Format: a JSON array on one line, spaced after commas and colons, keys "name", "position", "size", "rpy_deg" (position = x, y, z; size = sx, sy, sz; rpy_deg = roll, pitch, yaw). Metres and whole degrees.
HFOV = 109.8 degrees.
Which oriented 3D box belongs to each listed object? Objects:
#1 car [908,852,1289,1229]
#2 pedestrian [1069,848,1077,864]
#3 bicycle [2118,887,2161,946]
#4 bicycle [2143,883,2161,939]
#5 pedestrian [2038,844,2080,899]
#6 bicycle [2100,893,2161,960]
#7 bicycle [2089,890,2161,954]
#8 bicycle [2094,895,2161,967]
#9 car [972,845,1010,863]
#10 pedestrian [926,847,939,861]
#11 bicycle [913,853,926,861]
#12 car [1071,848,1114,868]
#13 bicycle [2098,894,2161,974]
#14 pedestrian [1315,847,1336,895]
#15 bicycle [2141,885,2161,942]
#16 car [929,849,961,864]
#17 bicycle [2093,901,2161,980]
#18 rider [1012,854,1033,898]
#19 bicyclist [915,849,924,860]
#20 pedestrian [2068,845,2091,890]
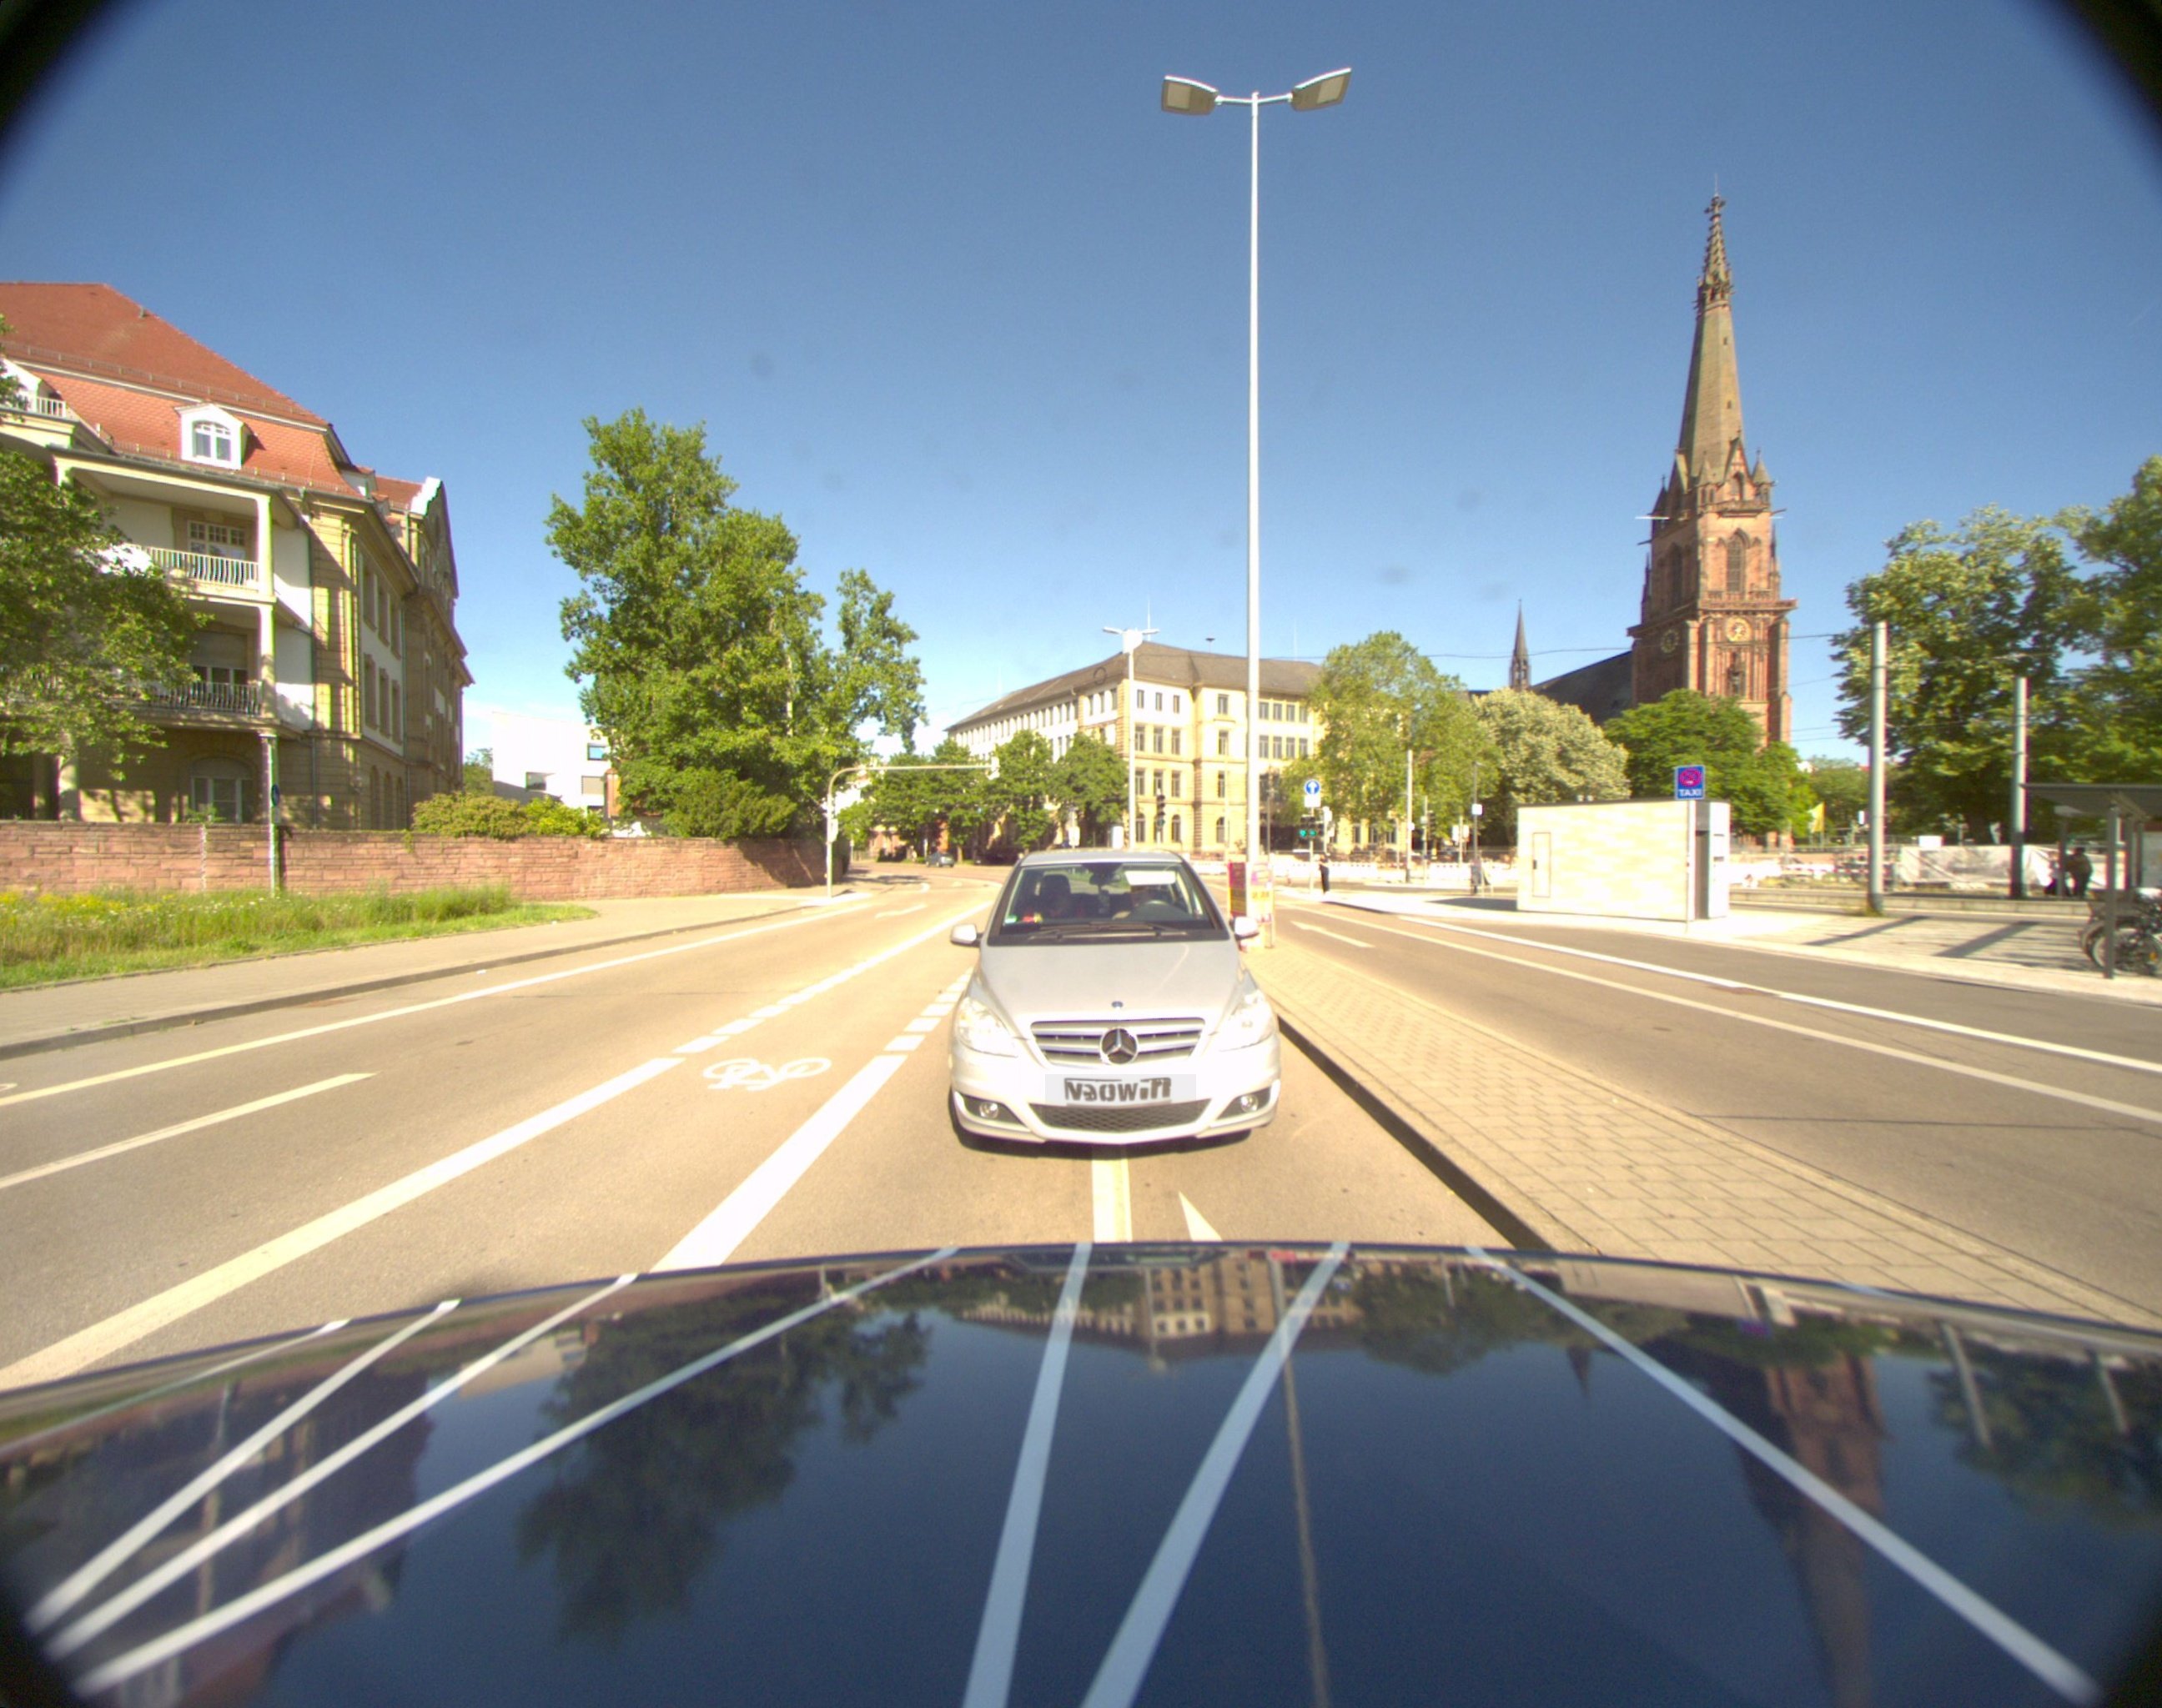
[{"name": "car", "position": [0.052, 0.845, 5.426], "size": [1.706, 1.657, 3.913], "rpy_deg": [-1, 1, -1]}, {"name": "pedestrian", "position": [-0.862, 0.194, 79.669], "size": [0.677, 1.714, 0.588], "rpy_deg": [-1, 1, -22]}, {"name": "bicycle", "position": [19.129, 1.100, 12.956], "size": [0.458, 1.003, 1.667], "rpy_deg": [-1, 1, -33]}, {"name": "bicycle", "position": [20.489, 1.065, 13.618], "size": [0.458, 1.003, 1.667], "rpy_deg": [-1, 1, -33]}, {"name": "pedestrian", "position": [32.063, 0.554, 24.917], "size": [0.980, 1.769, 0.801], "rpy_deg": [-1, 1, -37]}, {"name": "bicycle", "position": [17.261, 1.149, 11.663], "size": [0.458, 1.003, 1.899], "rpy_deg": [-1, 1, -33]}, {"name": "bicycle", "position": [17.915, 1.129, 12.436], "size": [0.458, 1.003, 1.667], "rpy_deg": [-1, 1, -33]}, {"name": "bicycle", "position": [16.074, 1.145, 10.984], "size": [0.458, 1.003, 1.667], "rpy_deg": [-1, 1, -33]}, {"name": "car", "position": [-10.730, -0.037, 90.767], "size": [1.994, 2.002, 4.721], "rpy_deg": [0, 1, 32]}, {"name": "pedestrian", "position": [-19.041, -0.005, 97.508], "size": [0.934, 1.812, 1.394], "rpy_deg": [1, 1, 45]}, {"name": "bicycle", "position": [-20.450, 0.353, 96.284], "size": [1.830, 0.985, 0.735], "rpy_deg": [0, 1, 44]}, {"name": "car", "position": [0.864, 0.283, 59.467], "size": [1.797, 1.490, 4.566], "rpy_deg": [1, 1, -21]}, {"name": "bicycle", "position": [15.202, 1.125, 10.287], "size": [0.458, 1.055, 1.667], "rpy_deg": [-1, 1, -33]}, {"name": "pedestrian", "position": [9.571, 0.664, 29.735], "size": [0.693, 1.844, 0.679], "rpy_deg": [0, 1, 12]}, {"name": "bicycle", "position": [19.896, 1.077, 13.208], "size": [0.458, 1.003, 1.667], "rpy_deg": [-1, 1, -33]}, {"name": "car", "position": [-14.771, 0.249, 82.261], "size": [1.865, 1.533, 4.229], "rpy_deg": [1, 1, -34]}, {"name": "bicycle", "position": [14.701, 1.173, 9.973], "size": [0.458, 1.003, 1.667], "rpy_deg": [-1, 1, -33]}, {"name": "rider", "position": [-2.212, 0.814, 28.783], "size": [0.658, 1.611, 0.989], "rpy_deg": [-1, 1, 1]}, {"name": "bicyclist", "position": [-20.458, 0.044, 96.284], "size": [0.893, 1.377, 0.735], "rpy_deg": [1, 1, 44]}, {"name": "pedestrian", "position": [37.572, 0.500, 28.587], "size": [0.404, 1.711, 0.419], "rpy_deg": [1, 1, 38]}]
